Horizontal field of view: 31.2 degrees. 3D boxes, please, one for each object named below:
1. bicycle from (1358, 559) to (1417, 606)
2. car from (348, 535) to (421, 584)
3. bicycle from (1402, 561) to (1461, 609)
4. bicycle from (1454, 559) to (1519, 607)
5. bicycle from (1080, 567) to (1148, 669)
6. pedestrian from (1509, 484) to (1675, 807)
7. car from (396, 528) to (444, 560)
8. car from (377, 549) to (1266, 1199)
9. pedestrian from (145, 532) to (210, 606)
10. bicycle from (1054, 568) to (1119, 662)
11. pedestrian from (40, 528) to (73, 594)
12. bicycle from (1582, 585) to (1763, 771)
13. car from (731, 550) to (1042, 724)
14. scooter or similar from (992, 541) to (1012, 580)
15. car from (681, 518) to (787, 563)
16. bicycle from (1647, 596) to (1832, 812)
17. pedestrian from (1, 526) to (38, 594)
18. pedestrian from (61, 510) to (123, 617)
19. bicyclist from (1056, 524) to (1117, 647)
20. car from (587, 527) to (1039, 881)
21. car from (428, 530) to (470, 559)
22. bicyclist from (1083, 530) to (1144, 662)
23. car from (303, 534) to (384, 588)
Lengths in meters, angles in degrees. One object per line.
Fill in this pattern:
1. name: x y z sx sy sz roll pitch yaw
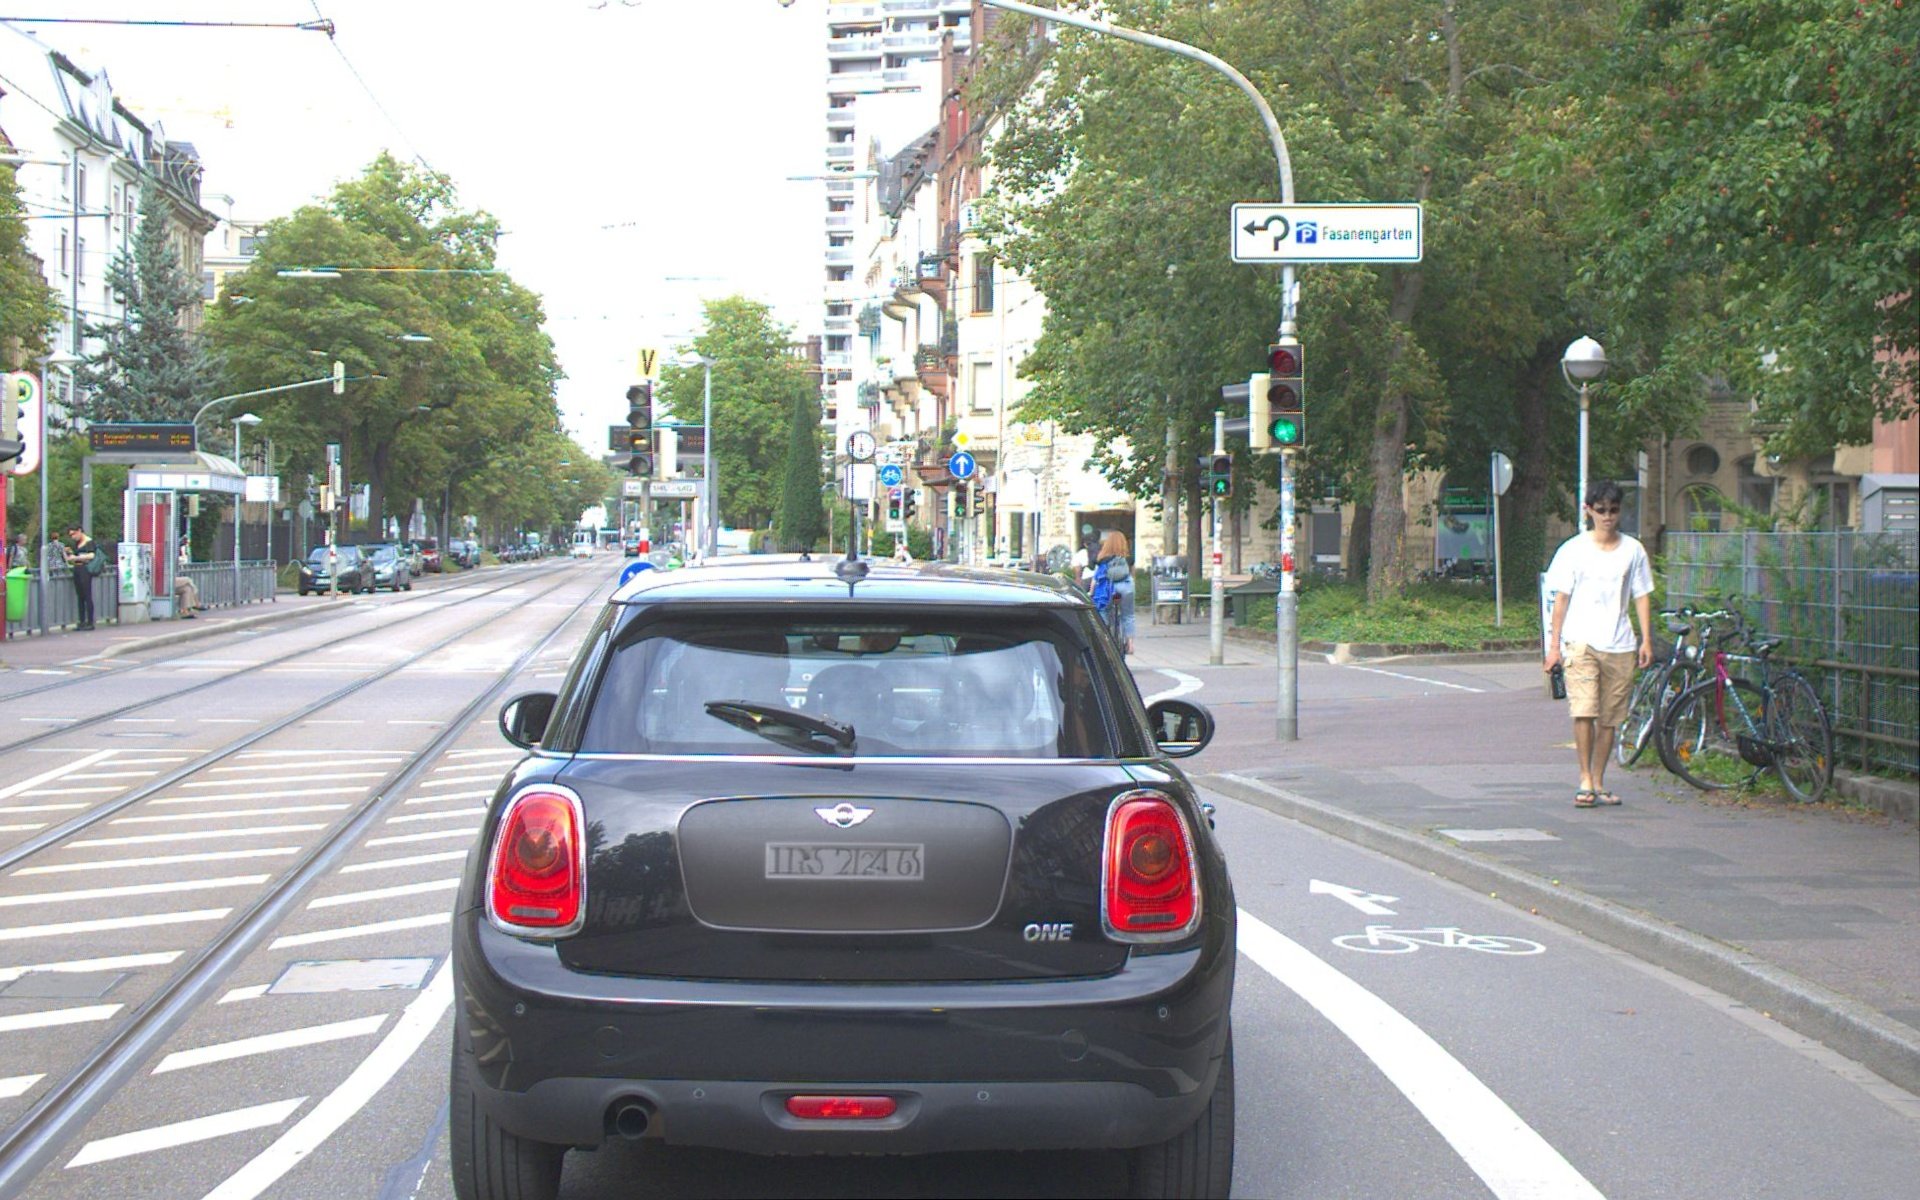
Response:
1. bicycle: 10.353 -0.439 83.214 0.532 1.124 1.889 1 1 37
2. car: -17.903 -1.282 107.083 1.751 1.436 4.001 2 1 -3
3. bicycle: 11.321 -0.368 82.495 0.532 1.124 1.889 1 1 37
4. bicycle: 12.467 -0.406 81.356 0.667 1.124 1.889 1 1 37
5. bicycle: 1.831 0.200 40.973 0.598 1.166 1.697 0 1 -5
6. pedestrian: 3.506 0.234 19.129 0.730 1.748 0.950 0 1 0
7. car: -26.507 -2.759 168.875 1.993 1.546 4.001 0 1 -4
8. car: -0.318 0.604 8.812 1.751 1.436 4.000 0 1 -1
9. pedestrian: -13.722 -0.550 60.347 1.058 1.289 0.986 0 1 -10
10. bicycle: 1.617 0.184 44.226 0.684 1.166 1.697 0 1 -3
11. pedestrian: -23.512 -1.011 89.473 0.694 1.713 0.758 0 1 -3
12. bicycle: 4.483 0.472 21.735 0.671 1.102 1.672 0 1 -5
13. car: -0.580 0.280 31.433 1.753 1.436 4.477 1 1 13
14. scooter or similar: 1.280 -1.216 104.944 0.508 1.184 1.262 0 1 -5
15. car: -11.512 -3.024 175.480 5.026 2.265 2.395 -1 1 -45
16. bicycle: 4.286 0.549 18.991 0.508 1.085 1.550 -3 2 -5
17. pedestrian: -23.554 -1.003 86.101 0.832 1.697 0.733 0 1 -10
18. pedestrian: -13.219 -0.556 52.384 0.851 1.615 0.843 0 1 -10
19. bicyclist: 1.621 -0.197 44.162 0.684 1.558 0.998 0 1 -3
20. car: -0.698 0.410 16.735 1.926 1.504 4.001 0 1 -2
21. car: -28.493 -3.108 191.763 1.993 1.546 4.001 0 1 -4
22. bicyclist: 1.829 -0.057 40.961 0.594 1.545 1.014 0 1 -5
23. car: -17.446 -1.130 97.439 1.751 1.436 4.001 2 1 -3
